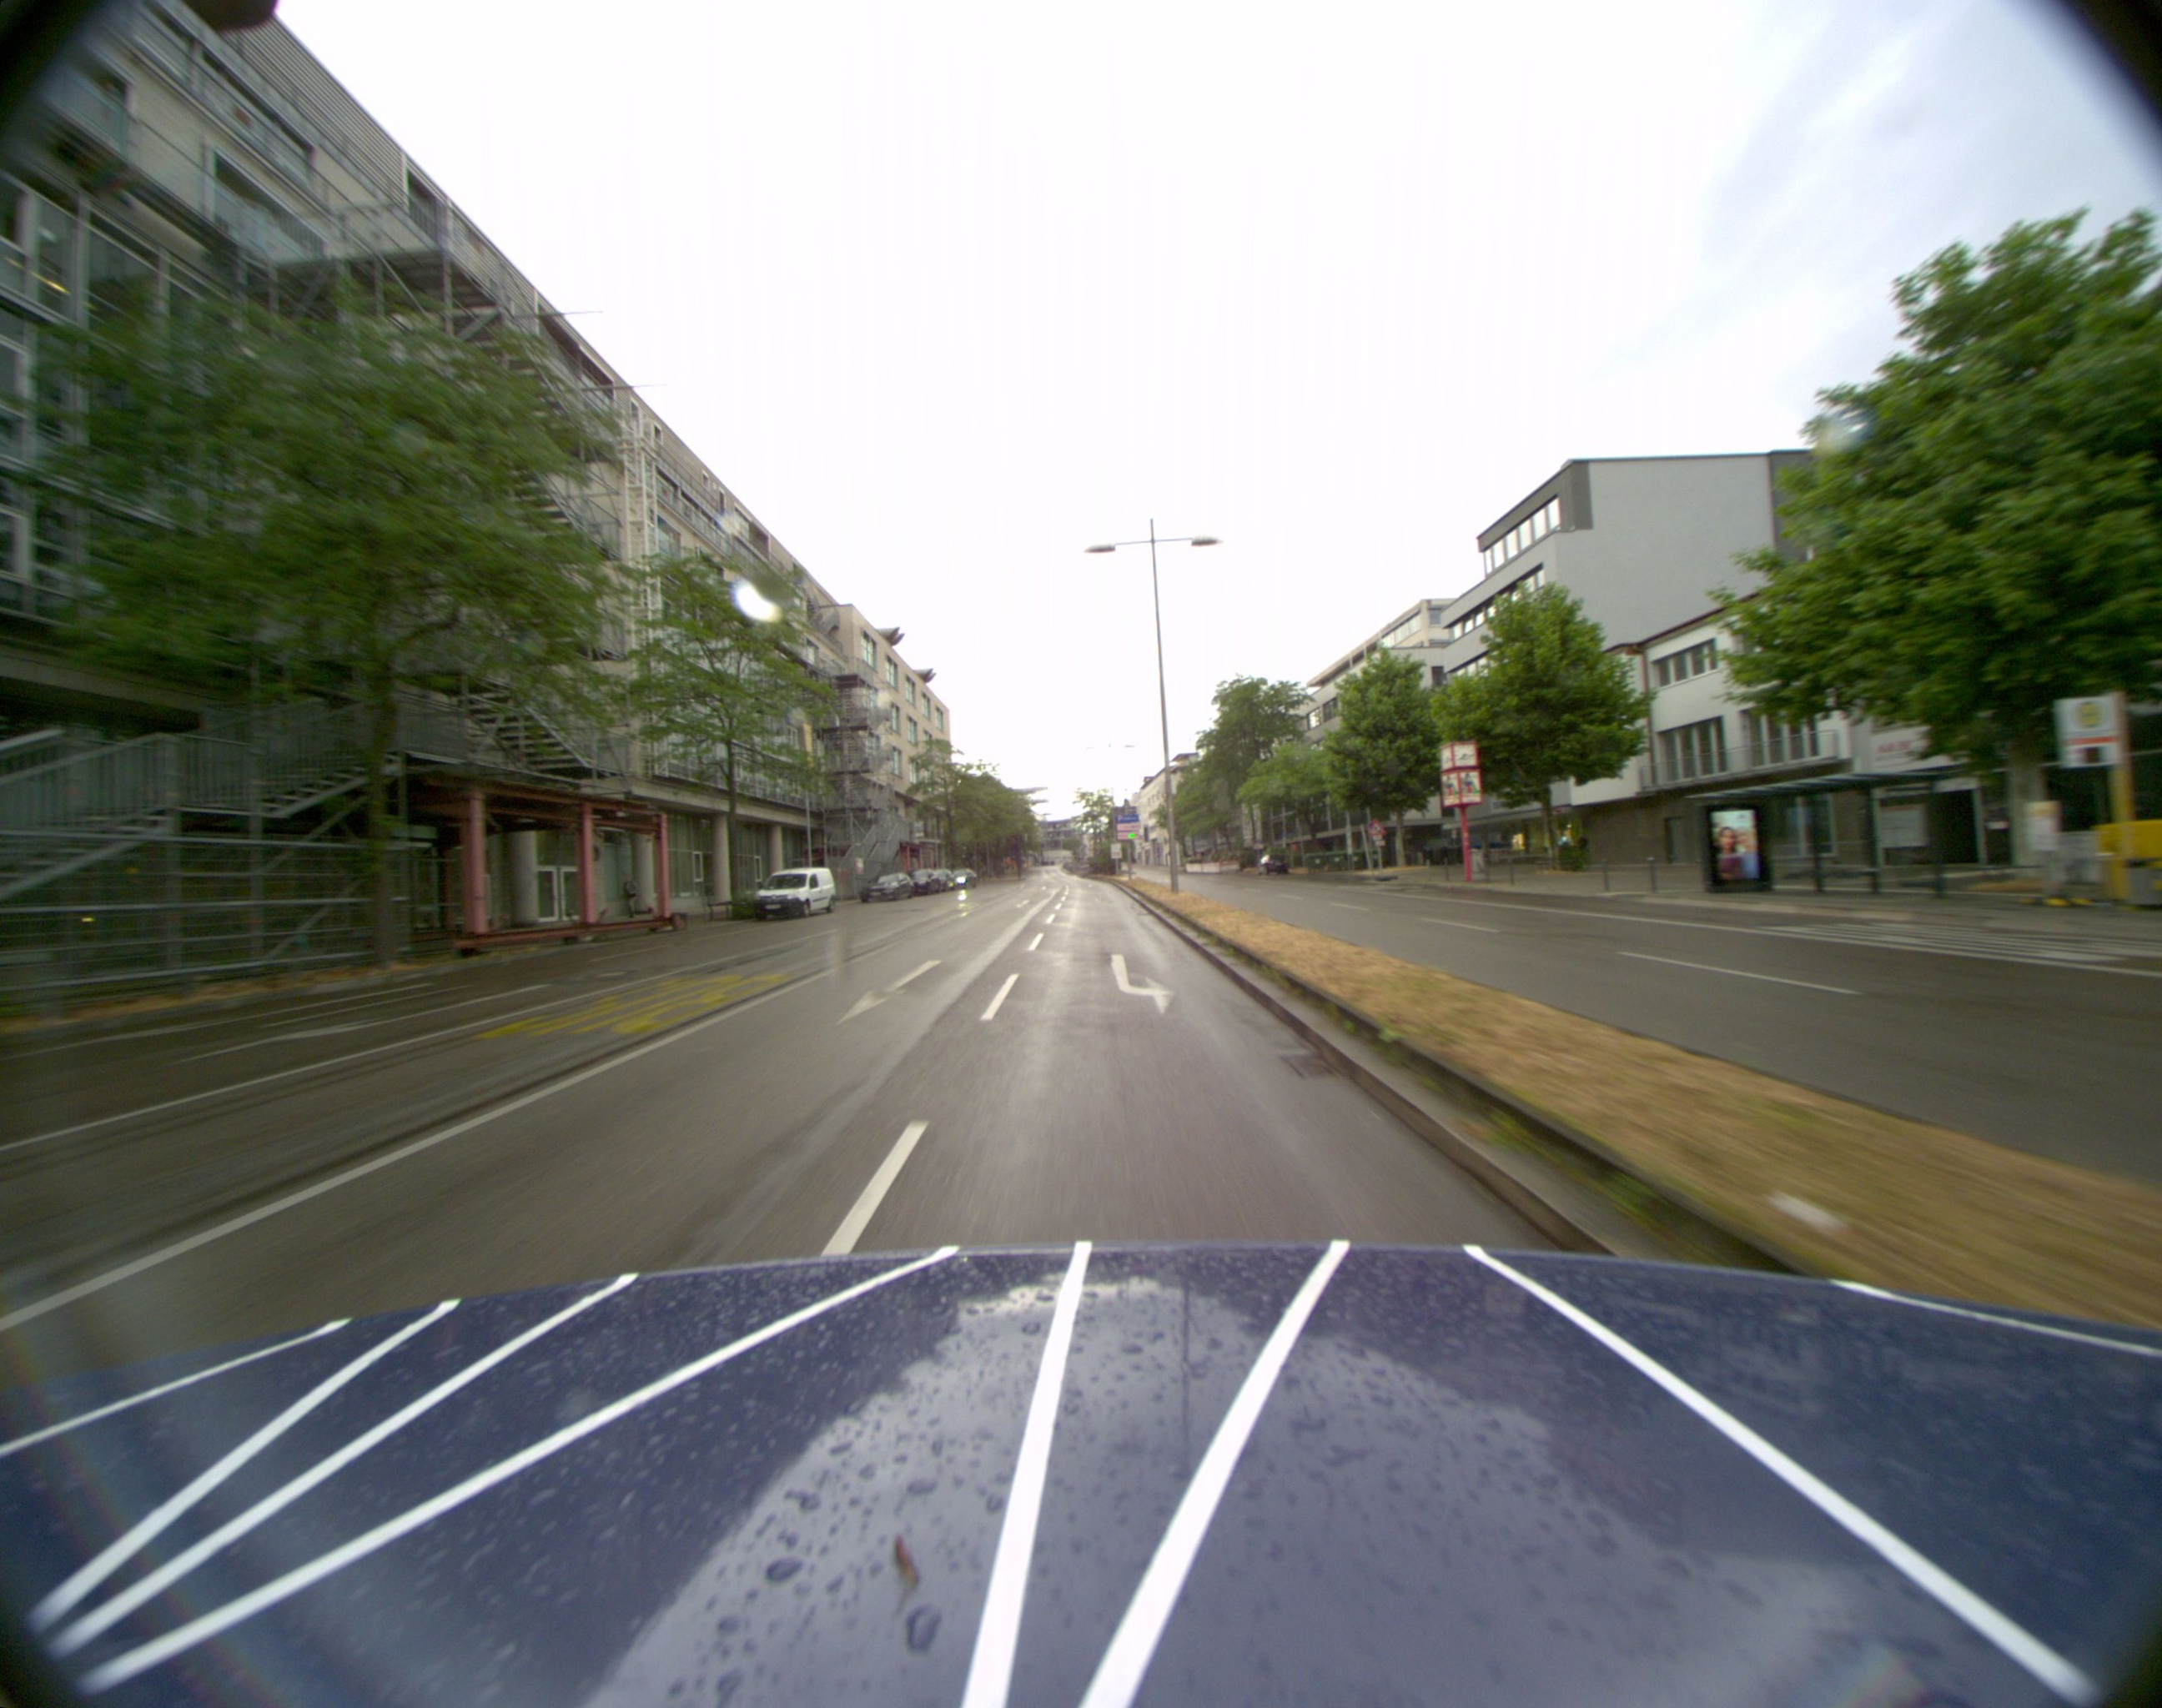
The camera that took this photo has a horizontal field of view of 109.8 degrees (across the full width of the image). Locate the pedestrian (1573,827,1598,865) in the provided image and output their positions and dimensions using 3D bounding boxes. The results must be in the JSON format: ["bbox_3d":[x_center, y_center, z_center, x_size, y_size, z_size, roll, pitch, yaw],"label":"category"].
[{"bbox_3d":[23.557,-0.374,35.474,0.698,1.752,0.653,-2,0,3],"label":"pedestrian"}]

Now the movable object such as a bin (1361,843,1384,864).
[{"bbox_3d":[21.584,-0.016,56.303,1.281,1.479,1.088,-3,0,1],"label":"movable object such as a bin"}]

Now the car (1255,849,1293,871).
[{"bbox_3d":[15.140,0.481,59.660,1.783,1.626,4.023,-3,0,-2],"label":"car"}]

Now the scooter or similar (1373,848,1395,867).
[{"bbox_3d":[19.515,0.242,48.958,0.777,1.114,1.324,-5,-3,2],"label":"scooter or similar"}]

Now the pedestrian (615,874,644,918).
[{"bbox_3d":[-18.262,1.696,30.758,0.677,1.732,0.653,-2,0,3],"label":"pedestrian"}]

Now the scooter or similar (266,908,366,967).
[{"bbox_3d":[-17.306,1.860,17.236,0.633,1.154,1.547,-3,0,1],"label":"scooter or similar"}]

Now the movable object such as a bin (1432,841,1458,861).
[{"bbox_3d":[26.715,-0.215,55.779,1.088,1.427,1.281,-3,0,-9],"label":"movable object such as a bin"}]

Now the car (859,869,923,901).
[{"bbox_3d":[-9.892,1.583,39.949,1.873,1.429,4.922,-2,-1,3],"label":"car"}]

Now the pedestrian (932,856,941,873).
[{"bbox_3d":[-16.934,1.245,88.825,0.871,2.002,0.758,-3,0,-4],"label":"pedestrian"}]

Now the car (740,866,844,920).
[{"bbox_3d":[-10.574,1.360,28.204,1.998,1.739,4.527,-3,0,1],"label":"car"}]

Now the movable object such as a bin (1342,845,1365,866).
[{"bbox_3d":[20.191,0.117,56.312,1.281,1.418,1.088,-3,0,1],"label":"movable object such as a bin"}]

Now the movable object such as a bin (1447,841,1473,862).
[{"bbox_3d":[27.120,-0.153,54.399,1.088,1.427,1.281,-3,0,-9],"label":"movable object such as a bin"}]

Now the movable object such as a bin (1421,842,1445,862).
[{"bbox_3d":[26.529,-0.146,57.317,1.088,1.427,1.281,-3,0,-9],"label":"movable object such as a bin"}]

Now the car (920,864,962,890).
[{"bbox_3d":[-9.550,1.523,52.117,1.866,1.591,4.593,-2,-1,1],"label":"car"}]

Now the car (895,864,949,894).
[{"bbox_3d":[-9.699,1.473,46.742,1.998,1.636,4.863,-2,-1,3],"label":"car"}]

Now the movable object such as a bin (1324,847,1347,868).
[{"bbox_3d":[18.842,0.256,56.287,1.281,1.418,1.088,-3,0,1],"label":"movable object such as a bin"}]

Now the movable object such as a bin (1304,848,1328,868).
[{"bbox_3d":[17.402,0.310,56.286,1.362,1.418,1.088,-3,0,1],"label":"movable object such as a bin"}]

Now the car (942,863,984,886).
[{"bbox_3d":[-8.952,1.545,58.036,1.998,1.591,5.291,-2,-1,4],"label":"car"}]
